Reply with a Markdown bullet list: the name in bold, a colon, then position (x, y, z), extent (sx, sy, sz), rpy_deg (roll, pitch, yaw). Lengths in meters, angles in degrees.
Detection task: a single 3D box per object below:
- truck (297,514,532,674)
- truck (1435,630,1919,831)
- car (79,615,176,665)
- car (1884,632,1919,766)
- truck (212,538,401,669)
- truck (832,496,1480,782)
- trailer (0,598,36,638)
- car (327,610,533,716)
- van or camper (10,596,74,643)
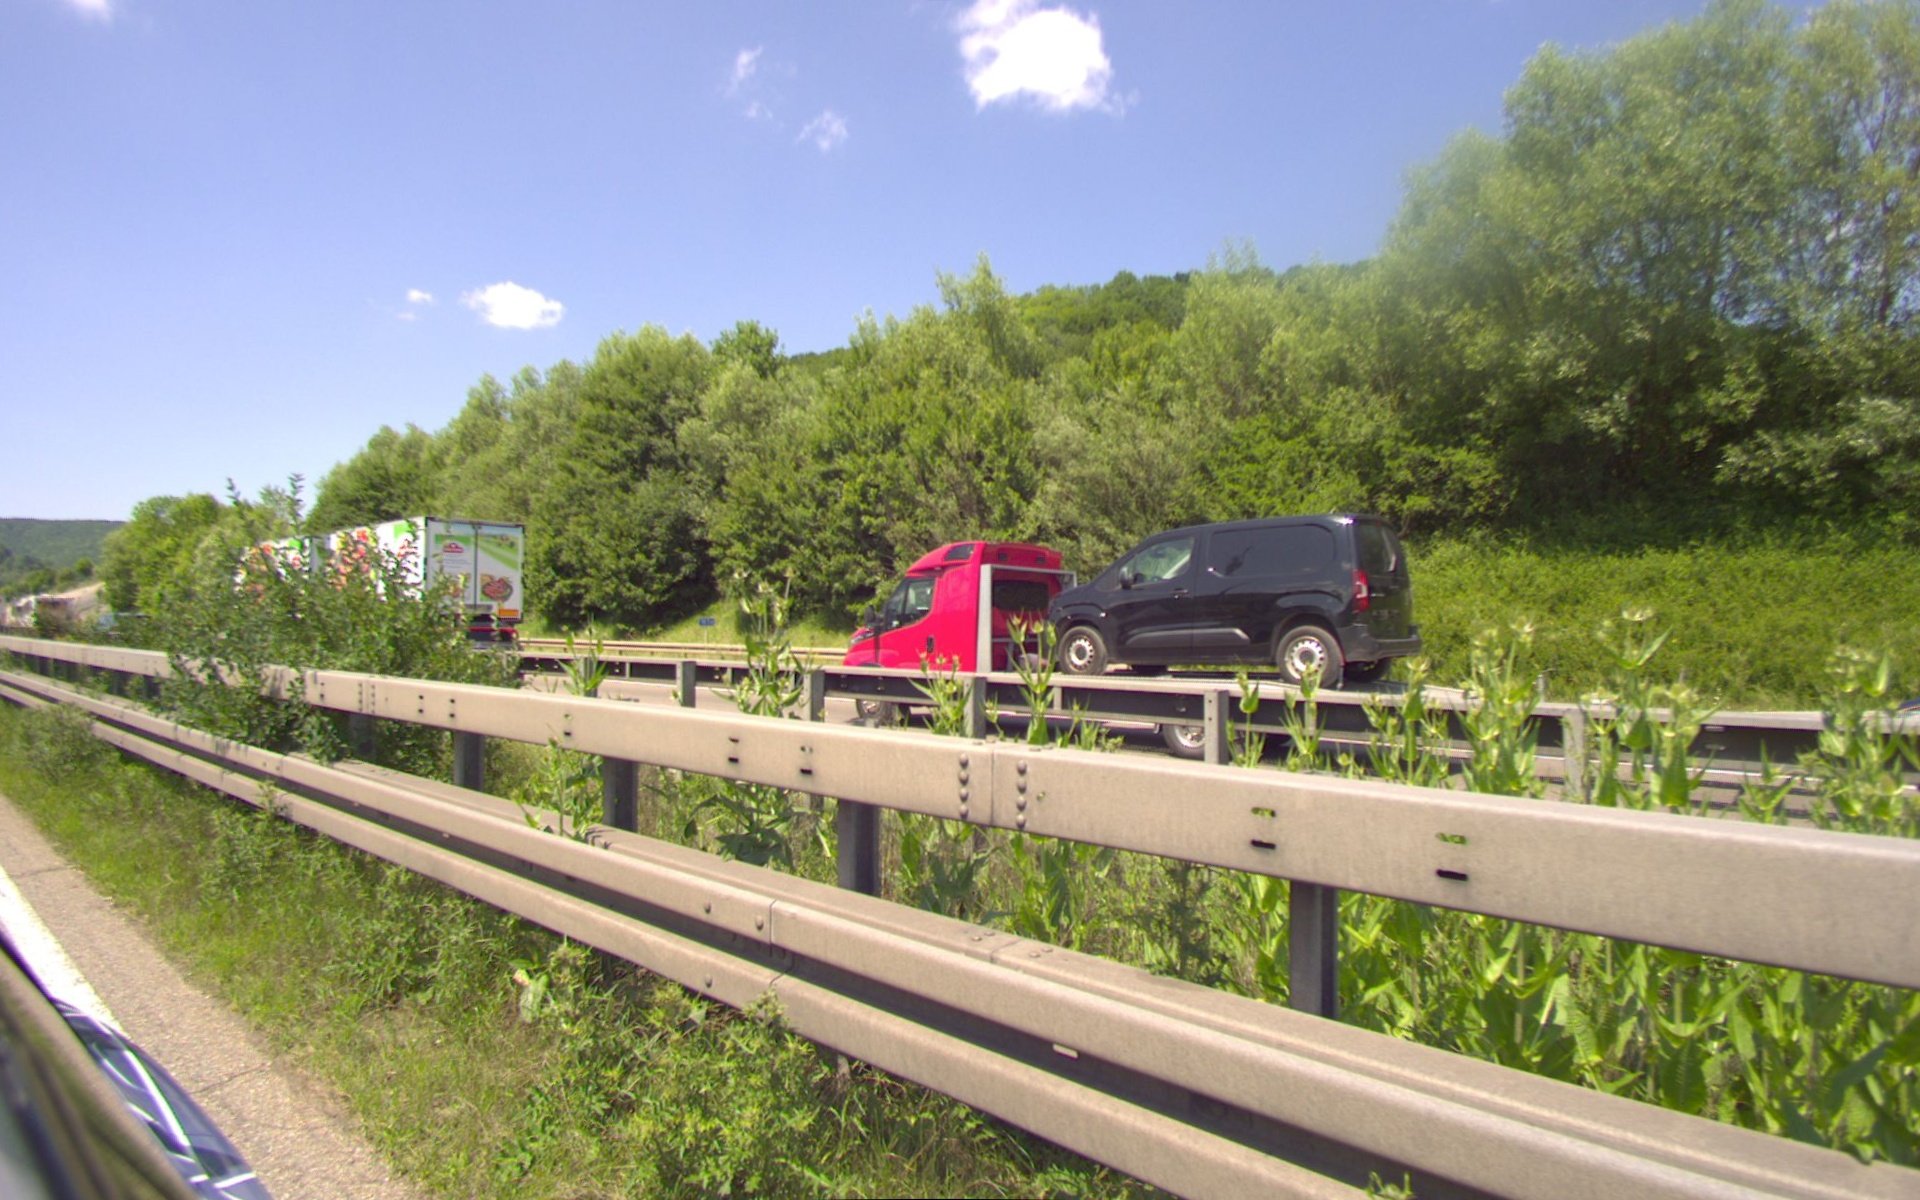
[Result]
- **truck**: position (-15.992, -0.043, 29.273), extent (9.026, 4.011, 2.839), rpy_deg (-1, -3, 41)
- **truck**: position (7.651, 0.934, 7.684), extent (7.006, 1.344, 2.186), rpy_deg (-1, -1, 41)
- **car**: position (-30.334, 1.409, 36.818), extent (5.029, 1.653, 1.973), rpy_deg (-1, -1, 41)
- **car**: position (12.041, 1.020, 10.035), extent (4.103, 1.366, 1.974), rpy_deg (-1, -1, 39)
- **truck**: position (-23.159, 0.192, 35.542), extent (10.164, 4.036, 2.840), rpy_deg (-1, -1, 41)
- **truck**: position (1.905, 0.454, 12.752), extent (7.964, 2.608, 2.272), rpy_deg (-1, -3, 41)
- **trailer**: position (-102.630, 1.955, 109.174), extent (14.153, 4.030, 2.753), rpy_deg (-1, -1, 41)
- **car**: position (-9.160, 0.997, 17.382), extent (3.997, 1.611, 1.759), rpy_deg (-1, -2, 40)
- **van or camper**: position (-68.507, 1.453, 75.466), extent (7.642, 3.361, 2.564), rpy_deg (-1, -2, 40)
